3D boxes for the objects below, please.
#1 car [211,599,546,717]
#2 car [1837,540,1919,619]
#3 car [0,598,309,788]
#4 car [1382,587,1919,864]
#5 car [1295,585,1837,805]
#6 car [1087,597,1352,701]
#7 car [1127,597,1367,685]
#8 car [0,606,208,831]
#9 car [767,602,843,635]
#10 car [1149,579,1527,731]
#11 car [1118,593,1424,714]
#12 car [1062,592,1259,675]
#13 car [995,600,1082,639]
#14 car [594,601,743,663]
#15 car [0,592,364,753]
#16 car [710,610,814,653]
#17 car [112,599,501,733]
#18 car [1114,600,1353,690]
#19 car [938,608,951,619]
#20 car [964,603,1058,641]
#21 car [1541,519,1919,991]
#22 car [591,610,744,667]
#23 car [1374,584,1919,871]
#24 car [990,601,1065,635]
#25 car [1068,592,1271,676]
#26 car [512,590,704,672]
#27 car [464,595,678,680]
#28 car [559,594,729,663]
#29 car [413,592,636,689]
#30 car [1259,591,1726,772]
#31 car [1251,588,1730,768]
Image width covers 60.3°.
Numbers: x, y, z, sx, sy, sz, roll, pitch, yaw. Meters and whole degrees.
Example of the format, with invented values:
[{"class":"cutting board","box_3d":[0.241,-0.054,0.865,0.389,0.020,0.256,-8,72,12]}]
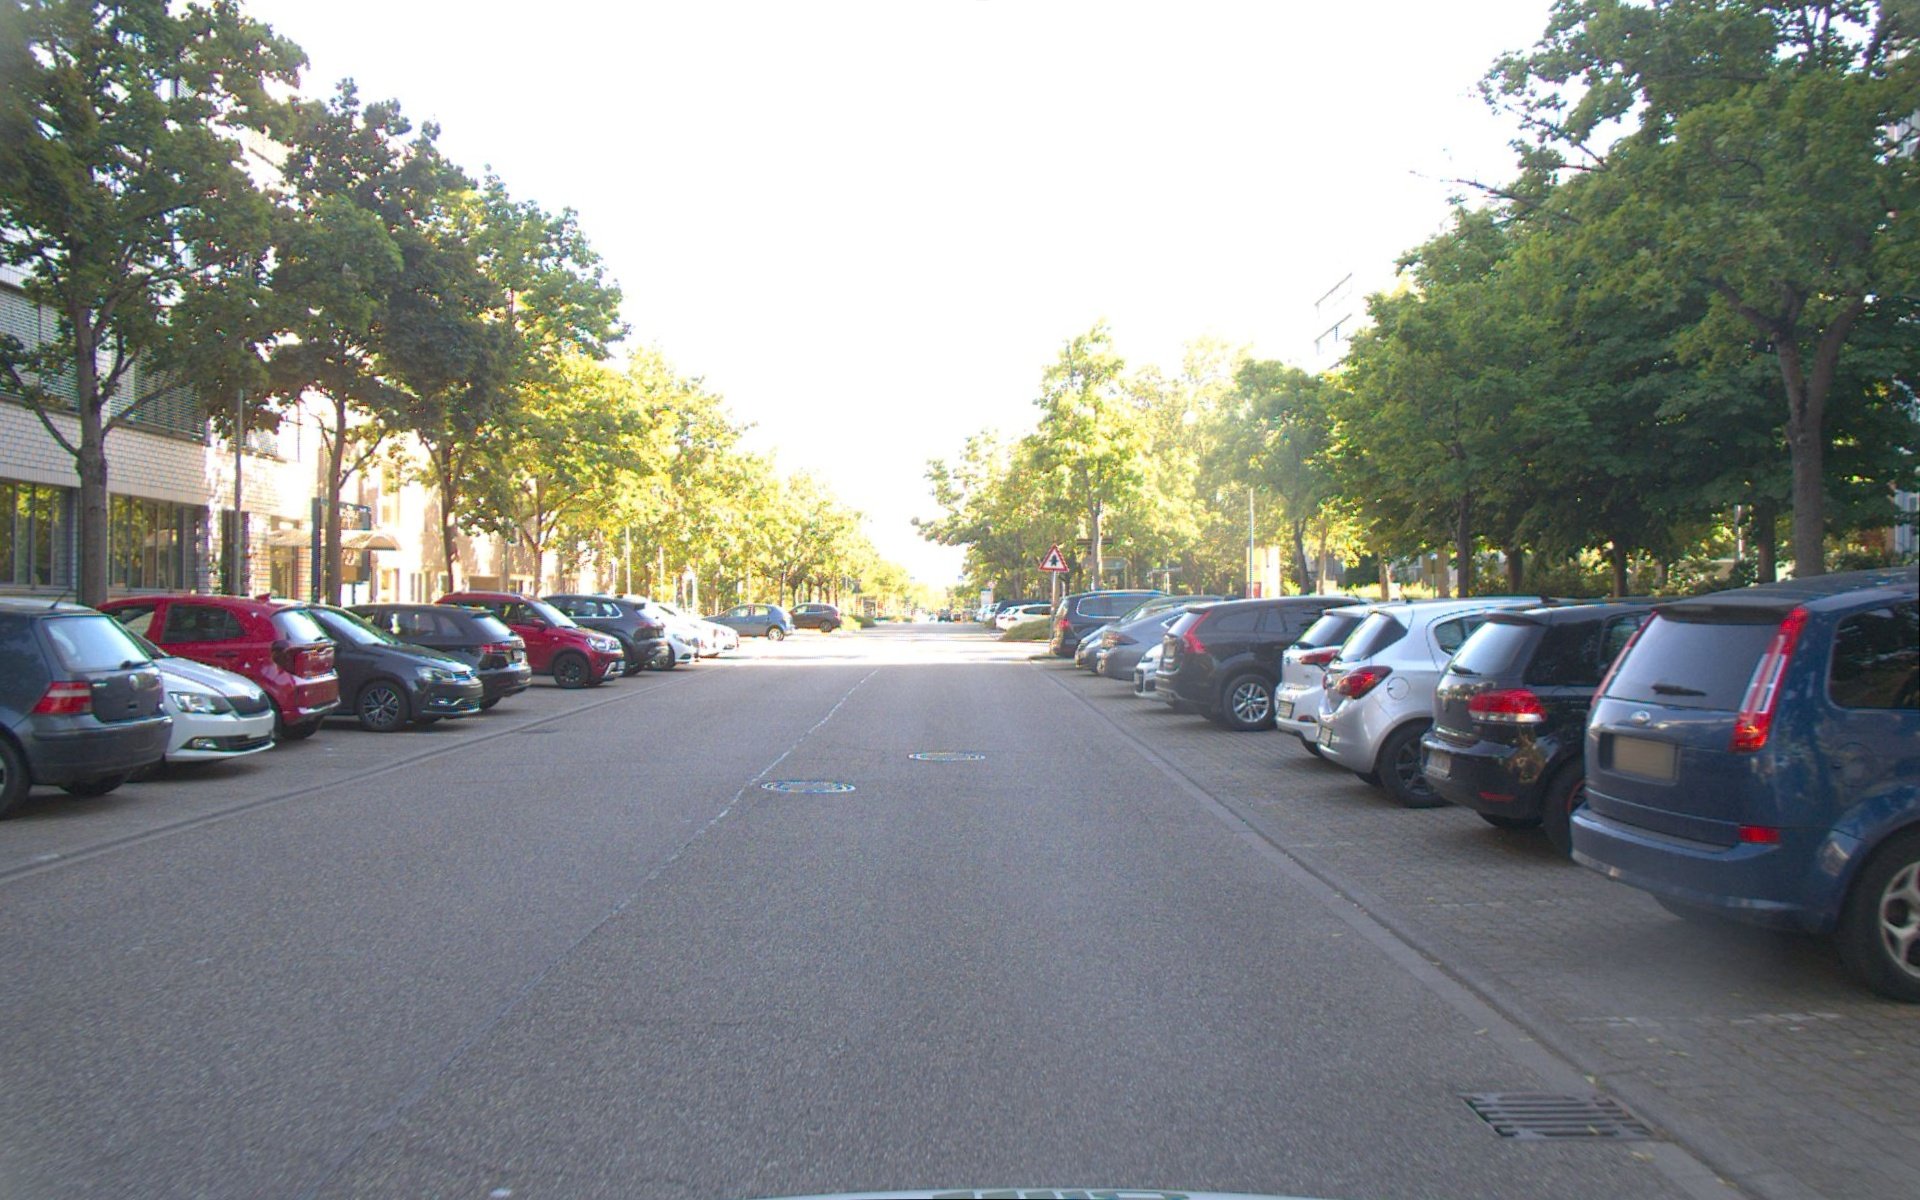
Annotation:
[{"class":"car","box_3d":[-7.720,0.759,22.246,3.908,1.431,1.604,2,-1,-4]},{"class":"car","box_3d":[22.601,-0.411,37.704,4.216,1.701,1.998,2,-1,-5]},{"class":"car","box_3d":[-7.967,0.764,14.520,3.789,1.482,1.753,1,1,-4]},{"class":"car","box_3d":[4.699,0.696,10.254,3.663,1.492,1.910,-1,0,0]},{"class":"car","box_3d":[4.553,0.686,12.774,3.562,1.492,1.633,-1,0,-2]},{"class":"car","box_3d":[4.148,0.772,26.754,3.964,1.517,1.549,-1,-1,-4]},{"class":"car","box_3d":[5.147,0.730,29.990,3.965,1.446,1.735,-1,-1,-5]},{"class":"car","box_3d":[-7.640,0.767,11.867,3.685,1.470,1.631,2,-1,0]},{"class":"car","box_3d":[-8.301,0.961,88.630,3.906,1.713,1.999,0,0,-1]},{"class":"car","box_3d":[4.447,0.643,19.999,4.160,1.582,1.921,-3,-1,4]},{"class":"car","box_3d":[4.345,0.716,23.331,3.968,1.619,1.547,0,0,-8]},{"class":"car","box_3d":[4.172,0.679,34.713,3.817,1.685,1.856,0,0,-5]},{"class":"car","box_3d":[3.699,0.910,78.726,3.910,1.824,1.998,0,0,-6]},{"class":"car","box_3d":[-7.856,0.866,44.887,3.817,1.640,1.856,0,0,-6]},{"class":"car","box_3d":[-8.074,0.711,16.925,3.352,1.489,1.694,1,0,-6]},{"class":"car","box_3d":[-7.635,1.205,63.945,3.909,1.559,1.616,-1,0,-5]},{"class":"car","box_3d":[-7.650,0.764,19.638,3.907,1.437,1.665,1,-1,-2]},{"class":"car","box_3d":[4.863,0.792,29.686,3.964,1.479,1.518,-1,-1,-4]},{"class":"car","box_3d":[-2.264,1.934,242.550,1.894,1.625,4.365,0,0,-1]},{"class":"car","box_3d":[2.229,0.949,72.518,3.910,1.653,1.998,0,0,-6]},{"class":"car","box_3d":[4.858,0.523,6.915,4.183,1.662,1.857,-1,0,-3]},{"class":"car","box_3d":[-7.912,1.026,44.978,3.907,1.507,1.679,0,0,-3]},{"class":"car","box_3d":[4.657,0.696,10.047,3.803,1.553,1.895,0,0,-1]},{"class":"car","box_3d":[3.710,0.976,90.885,3.910,1.824,1.998,0,0,-6]},{"class":"car","box_3d":[4.334,0.691,34.566,3.964,1.609,1.640,-1,-1,-4]},{"class":"car","box_3d":[-7.779,0.686,36.836,3.906,1.750,1.708,0,0,-2]},{"class":"car","box_3d":[-7.877,0.769,33.707,3.904,1.614,1.765,-1,-2,2]},{"class":"car","box_3d":[-7.996,0.710,42.079,3.904,1.683,1.861,-1,0,2]},{"class":"car","box_3d":[-7.705,0.716,29.469,3.467,1.686,1.761,0,-1,1]},{"class":"car","box_3d":[4.833,0.712,15.370,3.678,1.474,1.878,-1,-1,-4]},{"class":"car","box_3d":[4.774,0.677,15.310,3.787,1.493,1.966,-1,0,-1]}]
